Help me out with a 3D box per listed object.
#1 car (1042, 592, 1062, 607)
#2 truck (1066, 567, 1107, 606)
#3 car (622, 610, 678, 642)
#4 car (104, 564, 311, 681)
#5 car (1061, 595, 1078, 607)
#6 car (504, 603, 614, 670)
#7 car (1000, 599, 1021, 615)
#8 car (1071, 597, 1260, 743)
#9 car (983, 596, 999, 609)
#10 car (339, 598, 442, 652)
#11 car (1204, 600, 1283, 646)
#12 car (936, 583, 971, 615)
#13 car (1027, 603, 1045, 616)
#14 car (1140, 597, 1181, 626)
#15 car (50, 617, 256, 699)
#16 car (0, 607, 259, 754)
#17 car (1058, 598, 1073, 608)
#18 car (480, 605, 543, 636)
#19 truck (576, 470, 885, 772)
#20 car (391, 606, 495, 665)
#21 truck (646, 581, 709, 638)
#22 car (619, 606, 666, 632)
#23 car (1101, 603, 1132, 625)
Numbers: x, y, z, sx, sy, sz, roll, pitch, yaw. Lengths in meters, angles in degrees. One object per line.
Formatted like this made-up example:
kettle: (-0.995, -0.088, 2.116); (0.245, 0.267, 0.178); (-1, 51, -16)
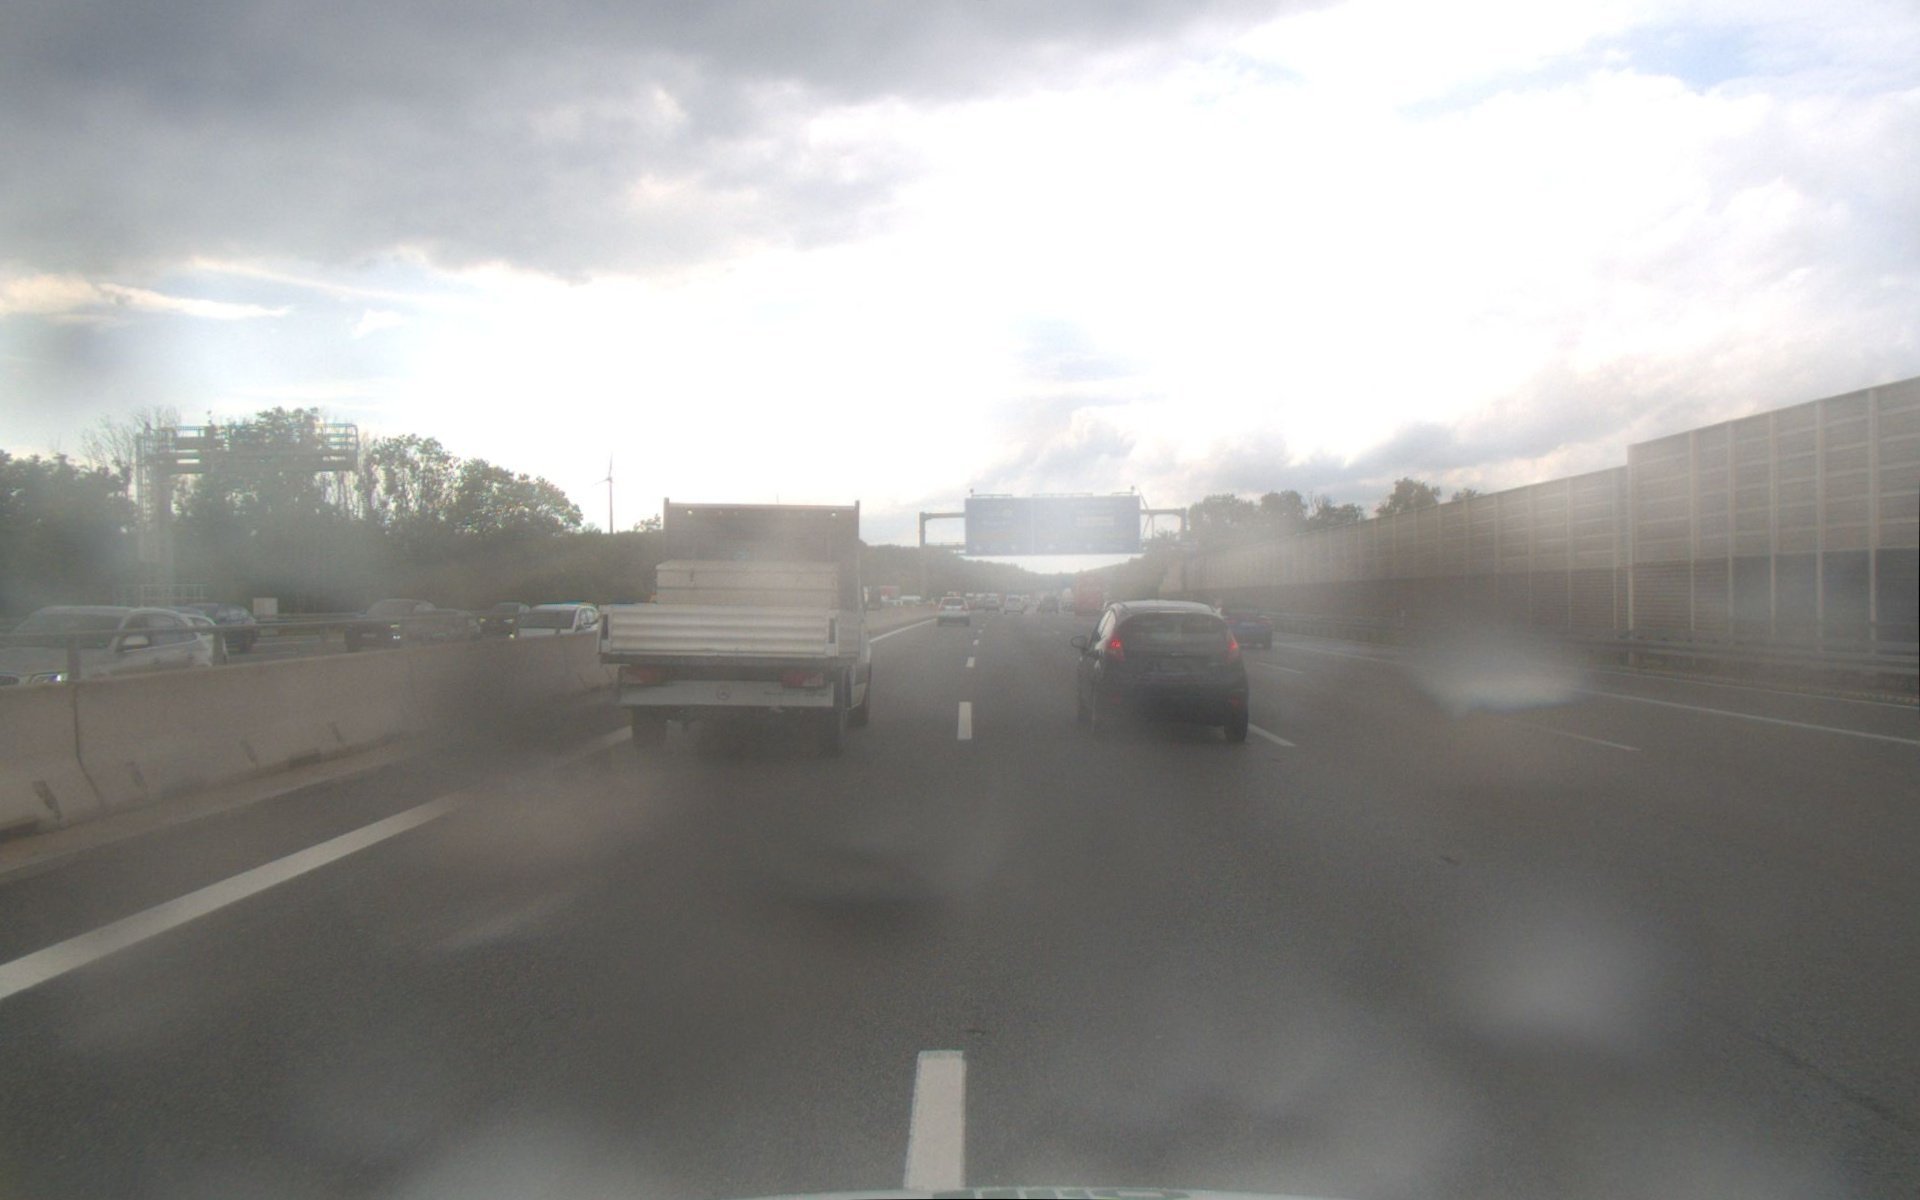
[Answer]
car: (10.217, -0.075, 184.159); (1.928, 1.588, 4.432); (-1, 0, -1)
truck: (12.722, -1.367, 167.079); (3.088, 3.664, 12.698); (1, 1, 0)
car: (-14.859, 1.227, 79.532); (1.687, 1.453, 4.520); (1, 0, 2)
car: (-23.041, 0.653, 51.196); (2.672, 3.296, 7.939); (1, 0, 0)
car: (14.694, 0.177, 222.695); (1.928, 1.588, 4.432); (-1, 0, -1)
car: (-10.815, 0.937, 44.955); (1.687, 1.674, 4.998); (1, 0, 1)
car: (5.080, 0.731, 165.469); (1.928, 1.588, 4.432); (-1, 0, 0)
car: (2.222, 0.705, 18.884); (1.682, 1.441, 4.279); (0, 0, 1)
car: (3.924, 0.324, 209.044); (1.928, 1.588, 4.432); (-1, 0, 0)
car: (-18.709, 0.812, 54.577); (1.687, 1.674, 4.520); (1, 0, 2)
car: (9.294, 0.730, 54.480); (1.910, 1.443, 4.232); (0, 0, 0)
car: (-0.324, -0.075, 88.152); (1.682, 1.652, 4.279); (0, 1, 2)
car: (9.507, 1.158, 206.713); (1.928, 1.588, 4.431); (-1, 0, -2)
car: (11.019, 0.627, 91.007); (1.843, 1.569, 4.434); (-1, 0, 2)
car: (-15.722, 1.084, 32.511); (1.687, 1.440, 4.520); (1, 0, 2)
car: (-11.283, 0.953, 21.885); (1.687, 1.674, 5.063); (1, 0, 2)
car: (15.759, 0.451, 246.799); (1.928, 1.588, 4.432); (-1, 0, -1)
car: (-21.768, 0.973, 80.501); (1.687, 1.453, 4.520); (1, 0, 2)
truck: (-2.060, 0.124, 17.272); (2.260, 2.482, 7.148); (0, 1, 0)
car: (-15.752, 1.041, 50.623); (1.687, 1.674, 4.519); (1, 0, 1)
truck: (-21.026, 0.672, 123.698); (2.855, 4.084, 9.584); (0, 0, 1)
car: (-17.994, 1.062, 93.927); (1.687, 1.453, 4.520); (1, 0, 2)
car: (11.676, 1.046, 123.327); (1.844, 1.588, 4.432); (-1, 0, 0)
